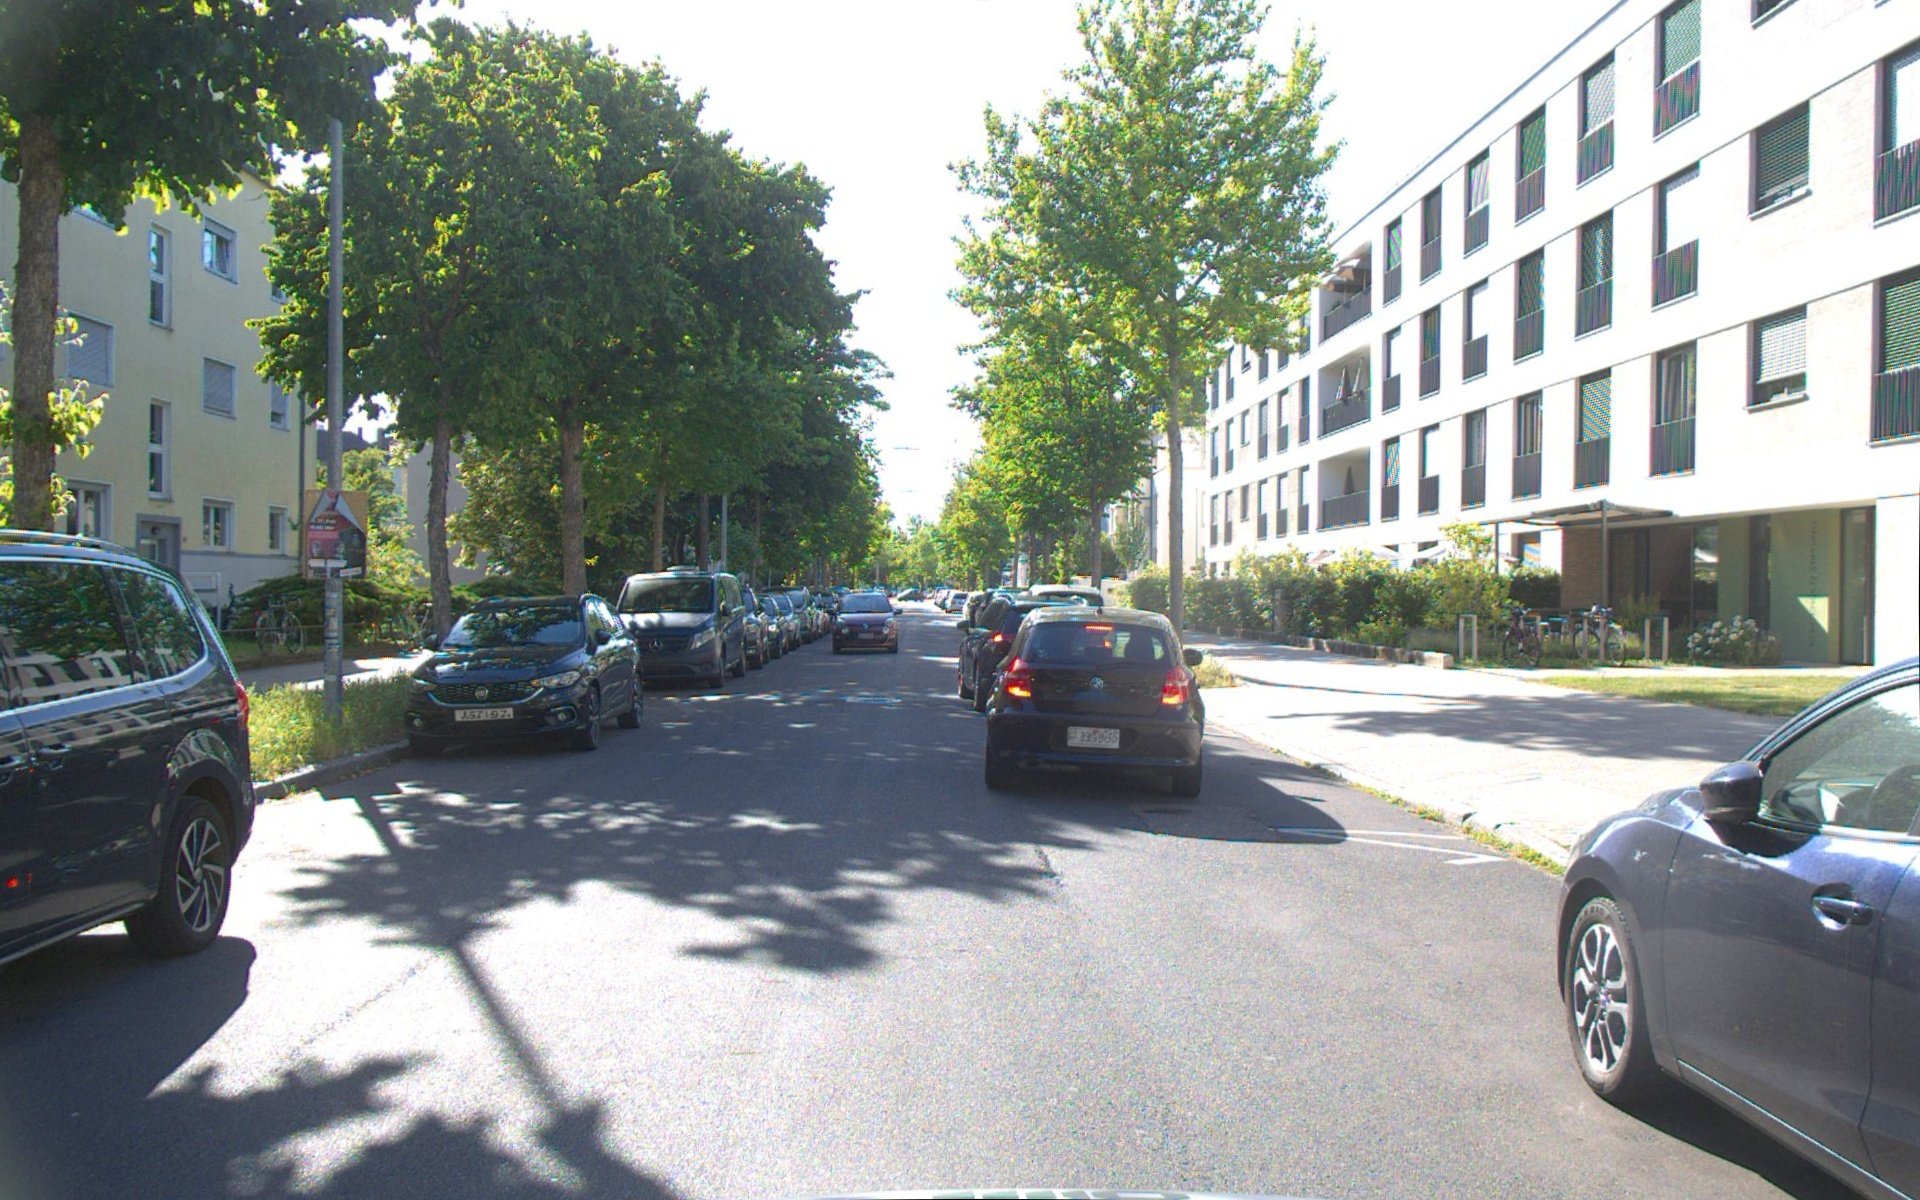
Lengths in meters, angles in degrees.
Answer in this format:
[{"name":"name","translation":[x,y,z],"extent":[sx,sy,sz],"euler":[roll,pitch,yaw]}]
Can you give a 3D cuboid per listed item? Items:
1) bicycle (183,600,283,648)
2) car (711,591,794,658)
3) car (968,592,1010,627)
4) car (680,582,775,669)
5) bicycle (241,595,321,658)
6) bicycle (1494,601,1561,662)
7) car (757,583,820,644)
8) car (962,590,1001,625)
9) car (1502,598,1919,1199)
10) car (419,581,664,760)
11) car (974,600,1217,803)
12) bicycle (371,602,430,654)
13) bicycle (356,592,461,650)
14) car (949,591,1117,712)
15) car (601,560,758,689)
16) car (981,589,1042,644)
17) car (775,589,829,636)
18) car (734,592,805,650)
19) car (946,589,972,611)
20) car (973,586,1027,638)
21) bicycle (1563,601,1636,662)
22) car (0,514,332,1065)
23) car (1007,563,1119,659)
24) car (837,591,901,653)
[{"name":"bicycle","translation":[-15.735,0.521,35.842],"extent":[1.886,1.009,0.595],"euler":[0,0,-9]},{"name":"car","translation":[-4.831,0.541,38.911],"extent":[1.580,1.452,4.056],"euler":[-1,0,-2]},{"name":"car","translation":[1.264,0.407,72.518],"extent":[1.686,1.403,3.850],"euler":[2,0,-1]},{"name":"car","translation":[-4.661,0.474,33.607],"extent":[1.580,1.639,4.226],"euler":[-1,0,-4]},{"name":"bicycle","translation":[-11.269,0.423,27.506],"extent":[0.582,1.009,1.927],"euler":[0,0,-1]},{"name":"bicycle","translation":[10.324,0.562,30.131],"extent":[0.535,1.073,1.690],"euler":[-1,0,-4]},{"name":"car","translation":[-5.092,0.367,49.440],"extent":[1.580,1.708,4.232],"euler":[-1,0,-2]},{"name":"car","translation":[0.963,0.328,77.297],"extent":[1.686,1.506,3.850],"euler":[2,0,-1]},{"name":"car","translation":[2.820,0.753,3.914],"extent":[1.666,1.474,4.081],"euler":[0,0,-1]},{"name":"car","translation":[-4.246,0.633,17.479],"extent":[1.477,1.575,4.776],"euler":[-2,0,-2]},{"name":"car","translation":[1.000,0.732,13.673],"extent":[1.616,1.421,3.410],"euler":[0,1,-2]},{"name":"bicycle","translation":[-11.297,0.550,33.467],"extent":[0.582,1.009,1.927],"euler":[0,0,-1]},{"name":"bicycle","translation":[-12.088,0.449,36.313],"extent":[2.108,1.230,0.688],"euler":[0,0,-13]},{"name":"car","translation":[0.887,0.613,22.168],"extent":[1.618,1.450,3.995],"euler":[0,1,-7]},{"name":"car","translation":[-4.586,0.356,27.774],"extent":[1.789,1.938,5.141],"euler":[-1,0,-1]},{"name":"car","translation":[1.557,0.484,51.397],"extent":[1.686,1.555,4.000],"euler":[2,0,-1]},{"name":"car","translation":[-5.238,0.398,55.140],"extent":[1.580,1.478,3.864],"euler":[-1,0,-2]},{"name":"car","translation":[-5.026,0.531,44.000],"extent":[1.580,1.452,3.724],"euler":[-1,0,-2]},{"name":"car","translation":[-0.057,-0.018,112.567],"extent":[1.685,1.506,3.852],"euler":[-1,0,1]},{"name":"car","translation":[1.371,0.391,57.400],"extent":[1.686,1.669,3.850],"euler":[2,0,-1]},{"name":"bicycle","translation":[11.658,0.559,30.215],"extent":[0.535,1.073,1.778],"euler":[-1,0,-4]},{"name":"car","translation":[-3.919,0.619,5.530],"extent":[1.812,1.710,4.975],"euler":[-2,1,-2]},{"name":"car","translation":[1.876,0.199,31.275],"extent":[1.810,1.659,4.410],"euler":[1,0,0]},{"name":"car","translation":[-2.233,0.516,41.132],"extent":[1.475,1.451,3.177],"euler":[0,0,-2]}]
